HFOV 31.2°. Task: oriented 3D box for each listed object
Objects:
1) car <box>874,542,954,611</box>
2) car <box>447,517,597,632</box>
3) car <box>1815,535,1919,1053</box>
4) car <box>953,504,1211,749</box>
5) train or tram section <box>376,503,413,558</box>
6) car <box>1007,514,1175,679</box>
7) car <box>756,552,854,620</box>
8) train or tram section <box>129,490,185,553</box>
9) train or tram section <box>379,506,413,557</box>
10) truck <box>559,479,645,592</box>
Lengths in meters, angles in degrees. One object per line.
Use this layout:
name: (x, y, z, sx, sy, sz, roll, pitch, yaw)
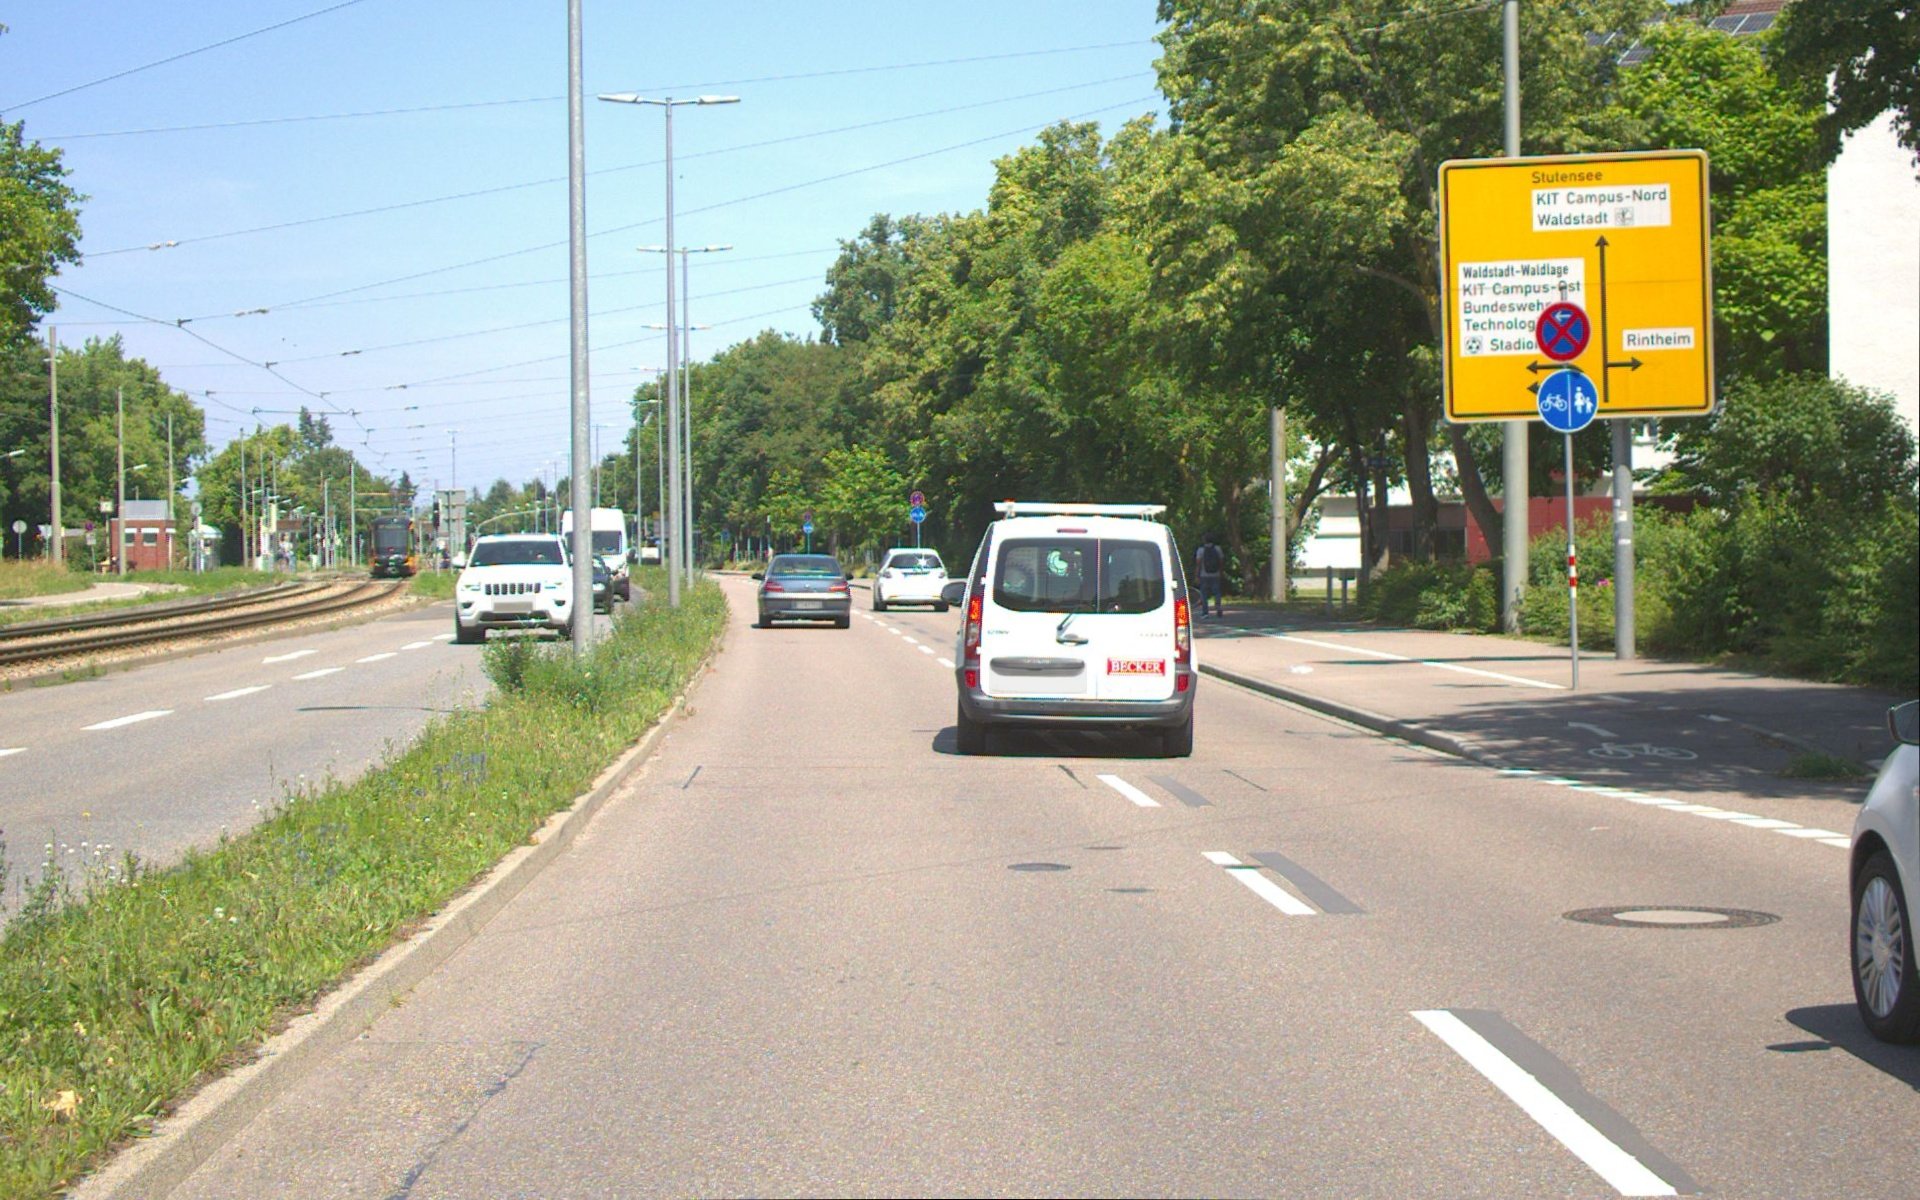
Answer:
car: (-1.092, -0.586, 83.203, 1.835, 1.563, 4.000, 1, 2, 0)
car: (-7.152, -0.452, 56.483, 1.993, 1.809, 4.000, 0, 1, -1)
car: (3.539, 0.584, 8.926, 1.609, 1.442, 3.436, 1, 2, -3)
car: (0.884, 0.143, 26.828, 1.821, 1.733, 4.396, 1, 1, 0)
train or tram section: (-33.509, -4.087, 203.888, 1.993, 3.076, 16.171, 1, 1, -9)
car: (1.471, -0.072, 39.994, 1.727, 1.782, 4.065, 1, 1, -1)
car: (-2.911, -0.291, 65.103, 1.692, 1.211, 3.589, 1, 1, -1)
train or tram section: (-47.419, -4.583, 203.260, 1.993, 3.511, 16.171, 1, 1, -9)
train or tram section: (-36.307, -4.369, 221.478, 1.993, 3.076, 19.505, 1, 1, -9)
truck: (-10.494, -1.901, 101.068, 1.993, 3.202, 5.312, 0, 1, -1)
